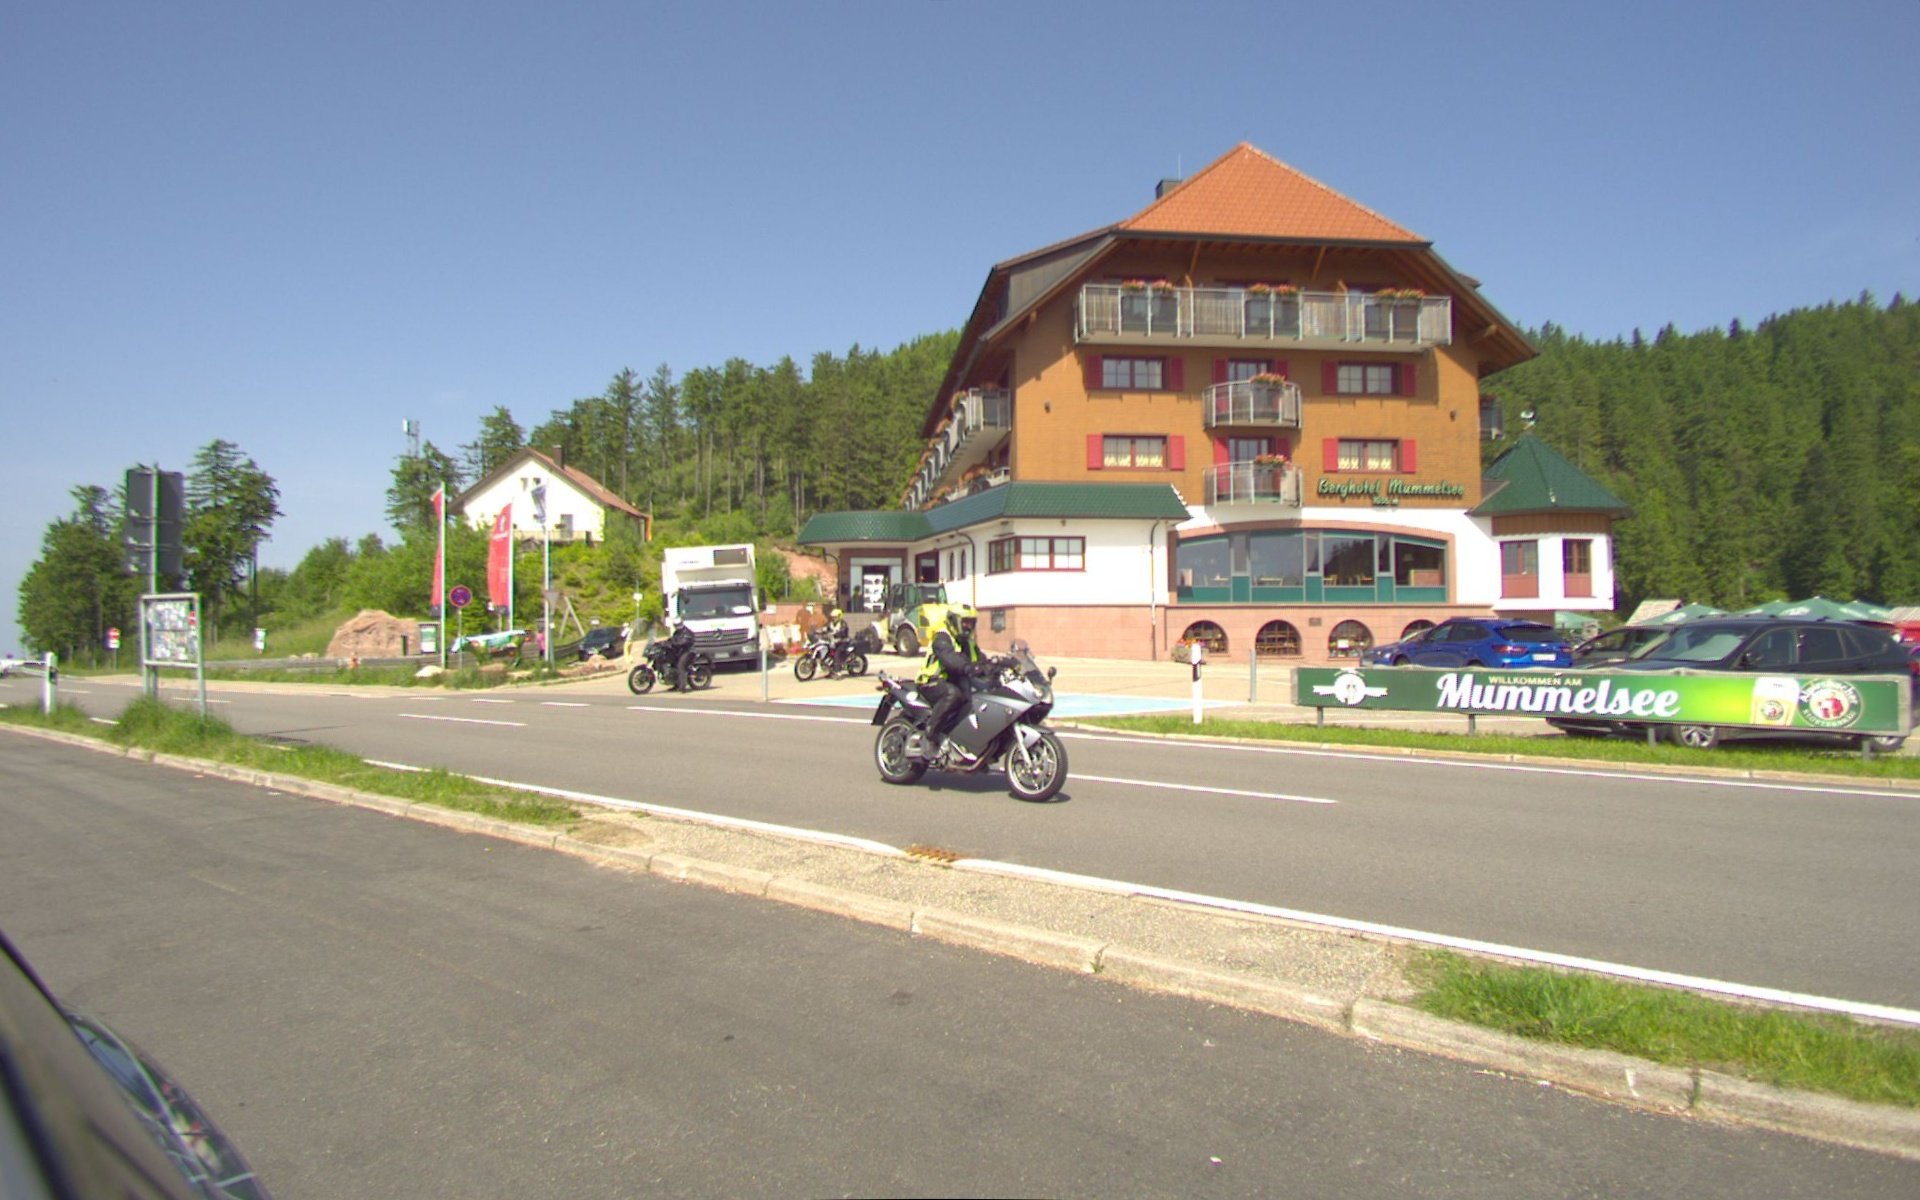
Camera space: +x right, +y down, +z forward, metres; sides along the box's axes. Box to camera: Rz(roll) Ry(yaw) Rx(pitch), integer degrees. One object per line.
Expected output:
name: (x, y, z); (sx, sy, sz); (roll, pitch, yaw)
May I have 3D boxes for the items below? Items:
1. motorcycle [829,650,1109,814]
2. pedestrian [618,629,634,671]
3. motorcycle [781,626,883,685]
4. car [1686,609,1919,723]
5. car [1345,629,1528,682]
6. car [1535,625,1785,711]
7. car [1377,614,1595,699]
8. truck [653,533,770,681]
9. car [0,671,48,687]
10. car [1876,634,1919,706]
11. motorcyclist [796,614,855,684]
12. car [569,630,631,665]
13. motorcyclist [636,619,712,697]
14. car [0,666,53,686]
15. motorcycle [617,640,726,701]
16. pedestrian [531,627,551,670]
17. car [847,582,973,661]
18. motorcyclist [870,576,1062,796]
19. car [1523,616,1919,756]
motorcycle: (0.040, 1.037, 8.554); (2.278, 1.186, 0.816); (-1, -2, 32)
pedestrian: (-13.543, 2.032, 41.025); (0.565, 1.702, 0.655); (0, -3, -17)
motorcycle: (-3.291, 1.397, 26.037); (2.402, 1.417, 1.009); (-1, -1, -24)
car: (16.320, 1.191, 18.940); (1.807, 1.878, 4.536); (0, -3, -6)
car: (12.358, 1.438, 26.351); (3.938, 1.307, 1.716); (0, -3, -7)
car: (14.050, 1.342, 20.655); (1.969, 1.557, 4.006); (0, -3, -7)
car: (11.456, 1.190, 22.486); (1.908, 1.676, 4.554); (0, -2, -9)
truck: (-8.133, 0.187, 32.361); (3.018, 4.002, 8.798); (-2, 0, -16)
car: (-84.738, 7.084, 90.872); (1.930, 1.384, 3.879); (-3, -6, 39)
car: (21.004, 1.403, 19.909); (1.903, 1.494, 4.009); (1, -3, -11)
motorcyclist: (-3.454, 1.238, 25.981); (1.226, 1.733, 1.068); (-1, -1, -24)
car: (-17.730, 2.306, 50.061); (1.852, 1.364, 4.004); (0, 2, -4)
motorcyclist: (-6.633, 1.327, 23.466); (1.428, 1.731, 0.928); (-1, -3, -35)
car: (-92.292, 7.426, 99.273); (1.930, 1.896, 4.670); (-3, -6, 39)
motorcycle: (-6.677, 1.612, 23.447); (2.239, 1.266, 0.881); (-1, -2, -35)
pedestrian: (-17.441, 2.017, 42.104); (0.687, 1.729, 0.800); (0, -3, -17)
car: (-1.735, 0.718, 34.219); (4.000, 2.515, 1.972); (0, -2, 43)
motorcyclist: (0.056, 0.677, 8.572); (1.289, 1.688, 1.018); (-1, -2, 32)
car: (9.544, 1.017, 12.526); (4.128, 1.552, 1.809); (0, -3, -5)
